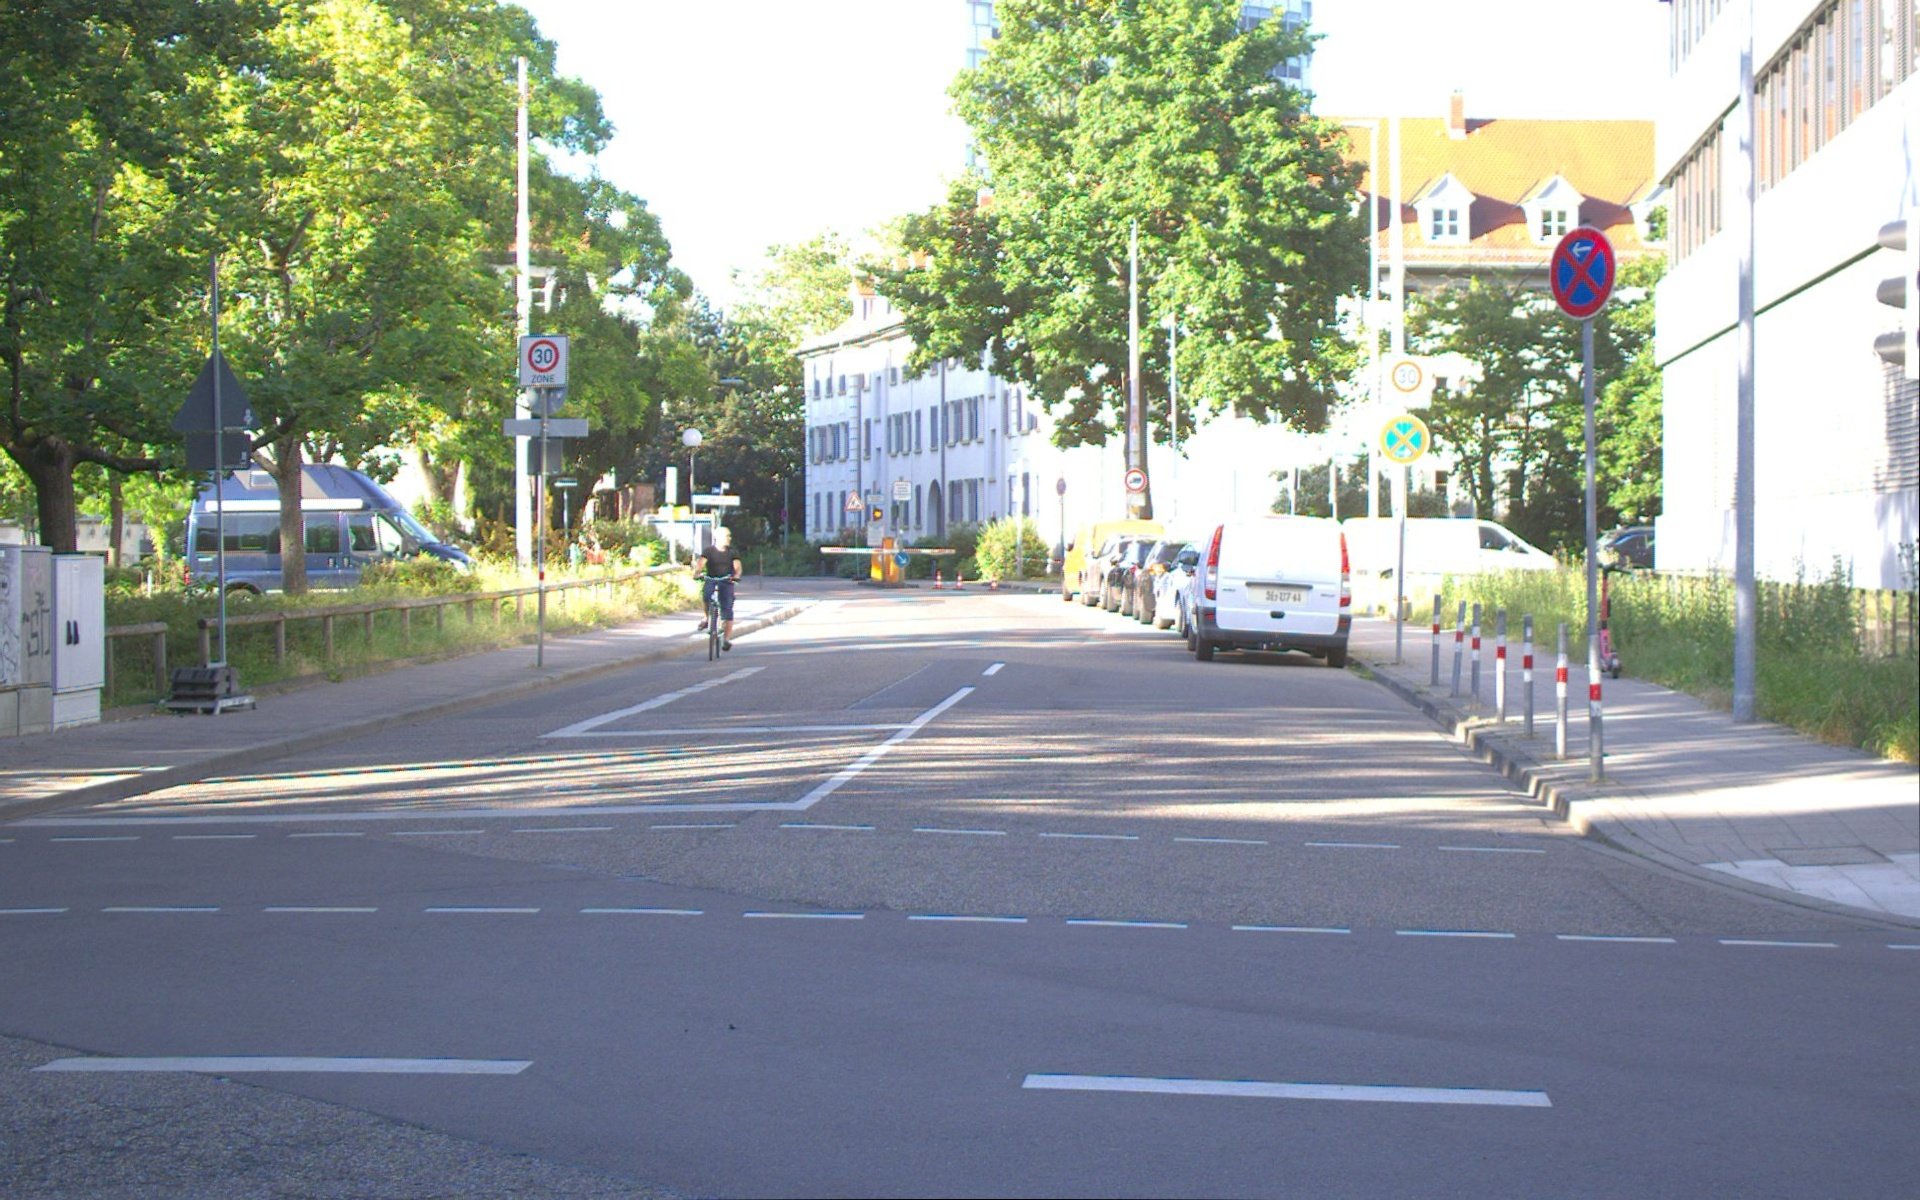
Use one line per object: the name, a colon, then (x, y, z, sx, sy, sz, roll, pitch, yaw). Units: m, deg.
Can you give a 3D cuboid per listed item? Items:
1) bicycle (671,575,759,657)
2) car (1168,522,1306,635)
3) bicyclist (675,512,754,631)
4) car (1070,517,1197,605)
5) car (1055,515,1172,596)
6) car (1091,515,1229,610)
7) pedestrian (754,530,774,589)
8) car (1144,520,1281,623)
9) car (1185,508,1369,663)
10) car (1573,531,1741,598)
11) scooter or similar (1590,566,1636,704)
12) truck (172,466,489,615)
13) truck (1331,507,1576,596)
bicycle: (-3.182, 0.193, 44.821, 0.866, 1.006, 2.414, -2, 1, 2)
car: (4.121, -0.360, 51.731, 1.888, 1.550, 4.415, 1, 2, 3)
bicyclist: (-3.194, -0.372, 44.831, 0.866, 1.510, 1.019, -2, 0, 2)
car: (3.478, -0.811, 69.621, 1.888, 1.650, 4.416, 1, 2, -6)
car: (3.313, -0.992, 75.038, 1.888, 1.650, 4.416, 1, 2, -6)
car: (3.732, -0.736, 64.755, 1.888, 1.650, 4.416, 1, 2, -6)
pedestrian: (-5.516, -1.140, 96.737, 0.545, 1.671, 0.476, 0, 1, -4)
car: (4.151, -0.507, 57.227, 1.888, 1.550, 4.416, 1, 2, -1)
car: (3.943, -0.233, 43.447, 2.085, 1.789, 4.415, 1, 2, 3)
car: (16.418, -0.835, 81.000, 3.554, 1.541, 1.559, 0, 1, -6)
scooter or similar: (6.901, 0.355, 36.352, 0.330, 1.419, 1.334, 2, 1, 7)
truck: (-10.455, -1.005, 57.309, 4.829, 2.391, 2.087, 1, 1, 3)
truck: (11.586, -1.135, 80.886, 5.337, 2.007, 2.000, 0, 1, -6)
